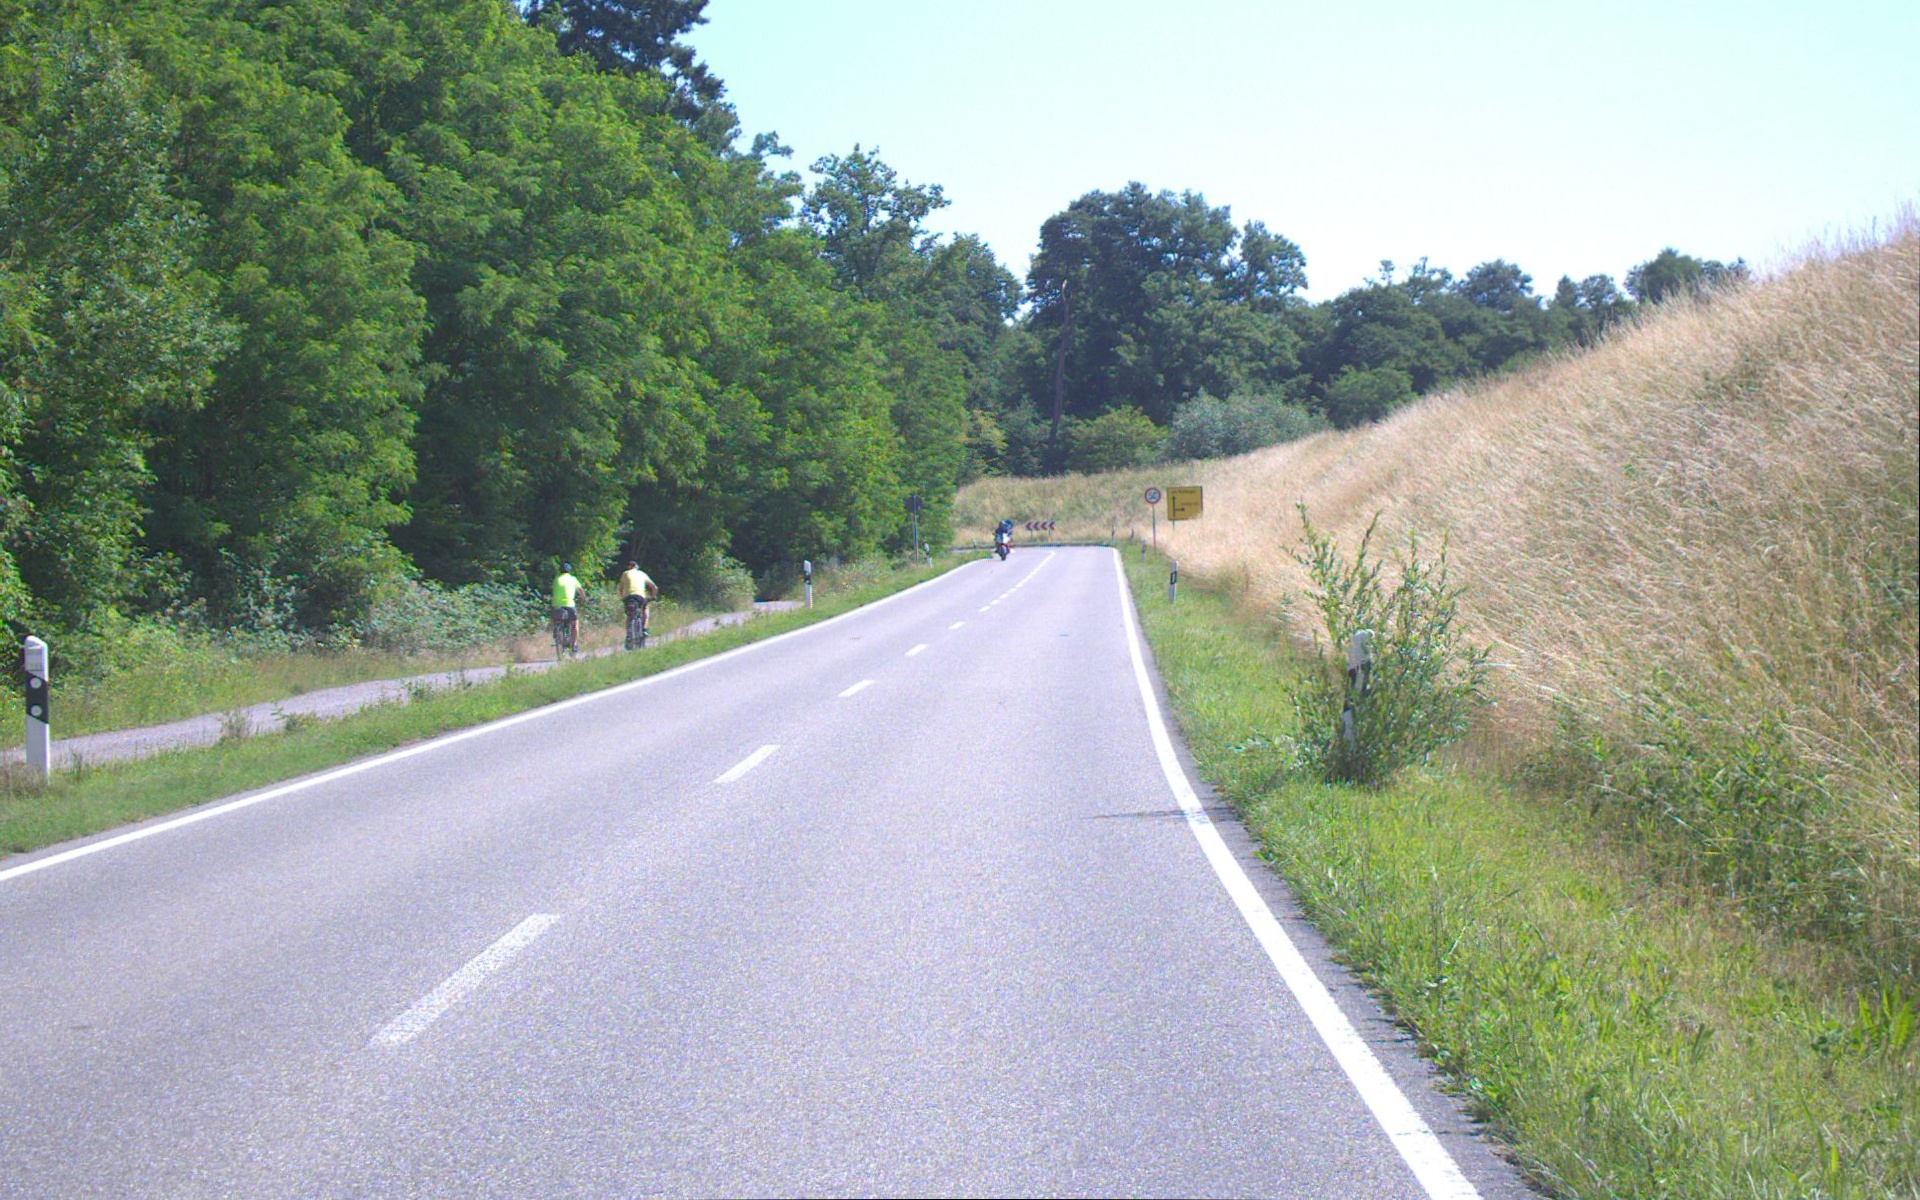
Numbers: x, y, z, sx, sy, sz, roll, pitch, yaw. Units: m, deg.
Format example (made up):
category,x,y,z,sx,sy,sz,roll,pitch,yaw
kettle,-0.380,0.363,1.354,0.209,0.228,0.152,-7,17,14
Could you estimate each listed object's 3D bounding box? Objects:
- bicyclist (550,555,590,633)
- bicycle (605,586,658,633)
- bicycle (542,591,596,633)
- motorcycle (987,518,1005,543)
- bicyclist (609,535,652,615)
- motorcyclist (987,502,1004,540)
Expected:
category,x,y,z,sx,sy,sz,roll,pitch,yaw
bicyclist,-7.105,-0.109,62.619,0.605,1.411,0.702,1,-1,3
bicycle,-5.931,0.163,62.200,0.640,0.785,2.137,-3,1,2
bicycle,-7.109,0.214,62.547,0.619,0.679,2.137,-3,1,2
motorcycle,1.474,-2.828,139.784,0.639,0.981,2.006,-3,1,2
bicyclist,-5.955,-0.457,62.141,0.605,1.410,0.702,-3,1,3
motorcyclist,1.445,-3.217,140.081,0.659,1.523,0.814,-2,1,1
